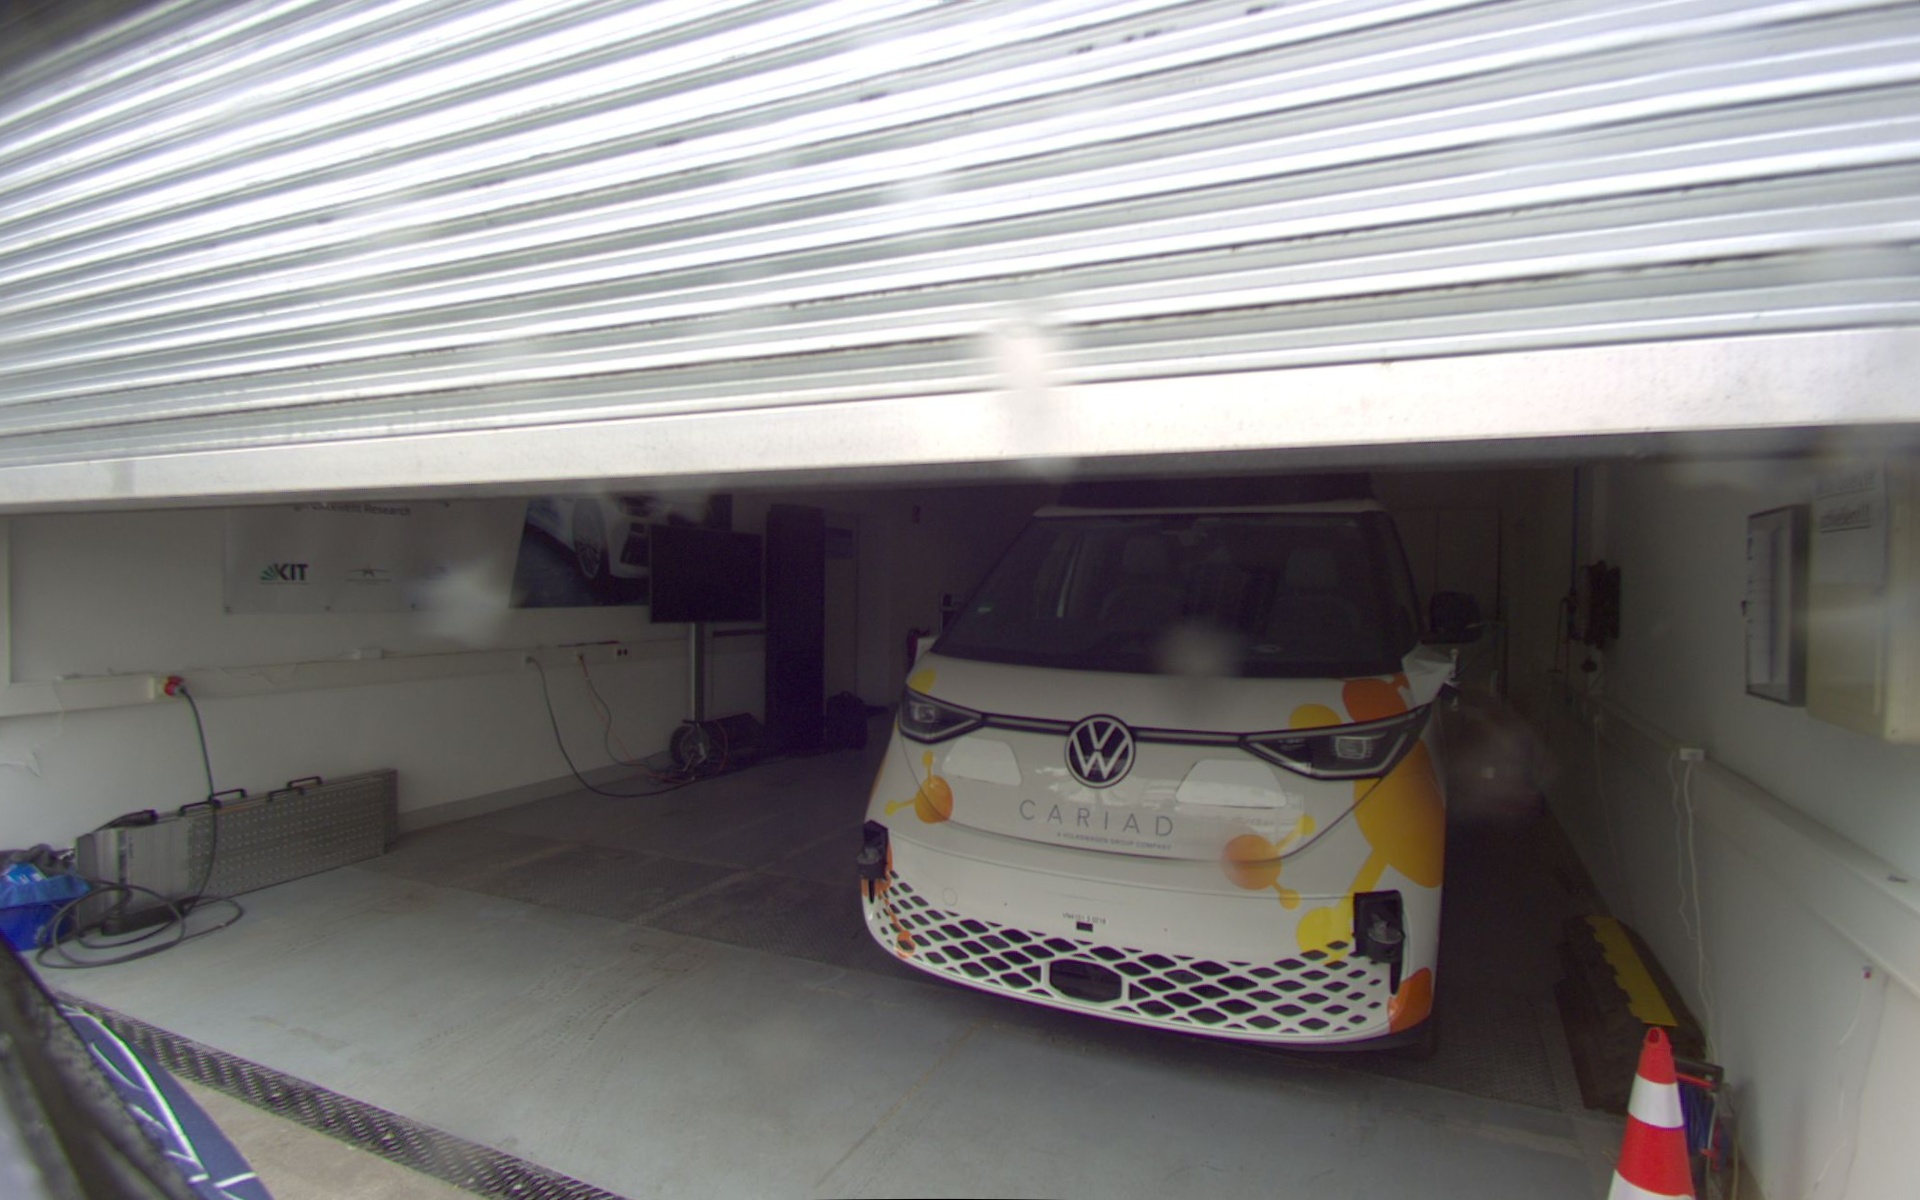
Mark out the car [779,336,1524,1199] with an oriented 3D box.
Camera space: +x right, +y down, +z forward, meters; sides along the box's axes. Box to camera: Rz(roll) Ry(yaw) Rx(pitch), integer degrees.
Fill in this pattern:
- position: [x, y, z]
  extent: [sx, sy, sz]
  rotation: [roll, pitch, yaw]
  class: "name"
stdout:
- position: [1.309, 0.333, 4.929]
  extent: [2.072, 2.028, 4.667]
  rotation: [1, 2, 24]
  class: "car"
